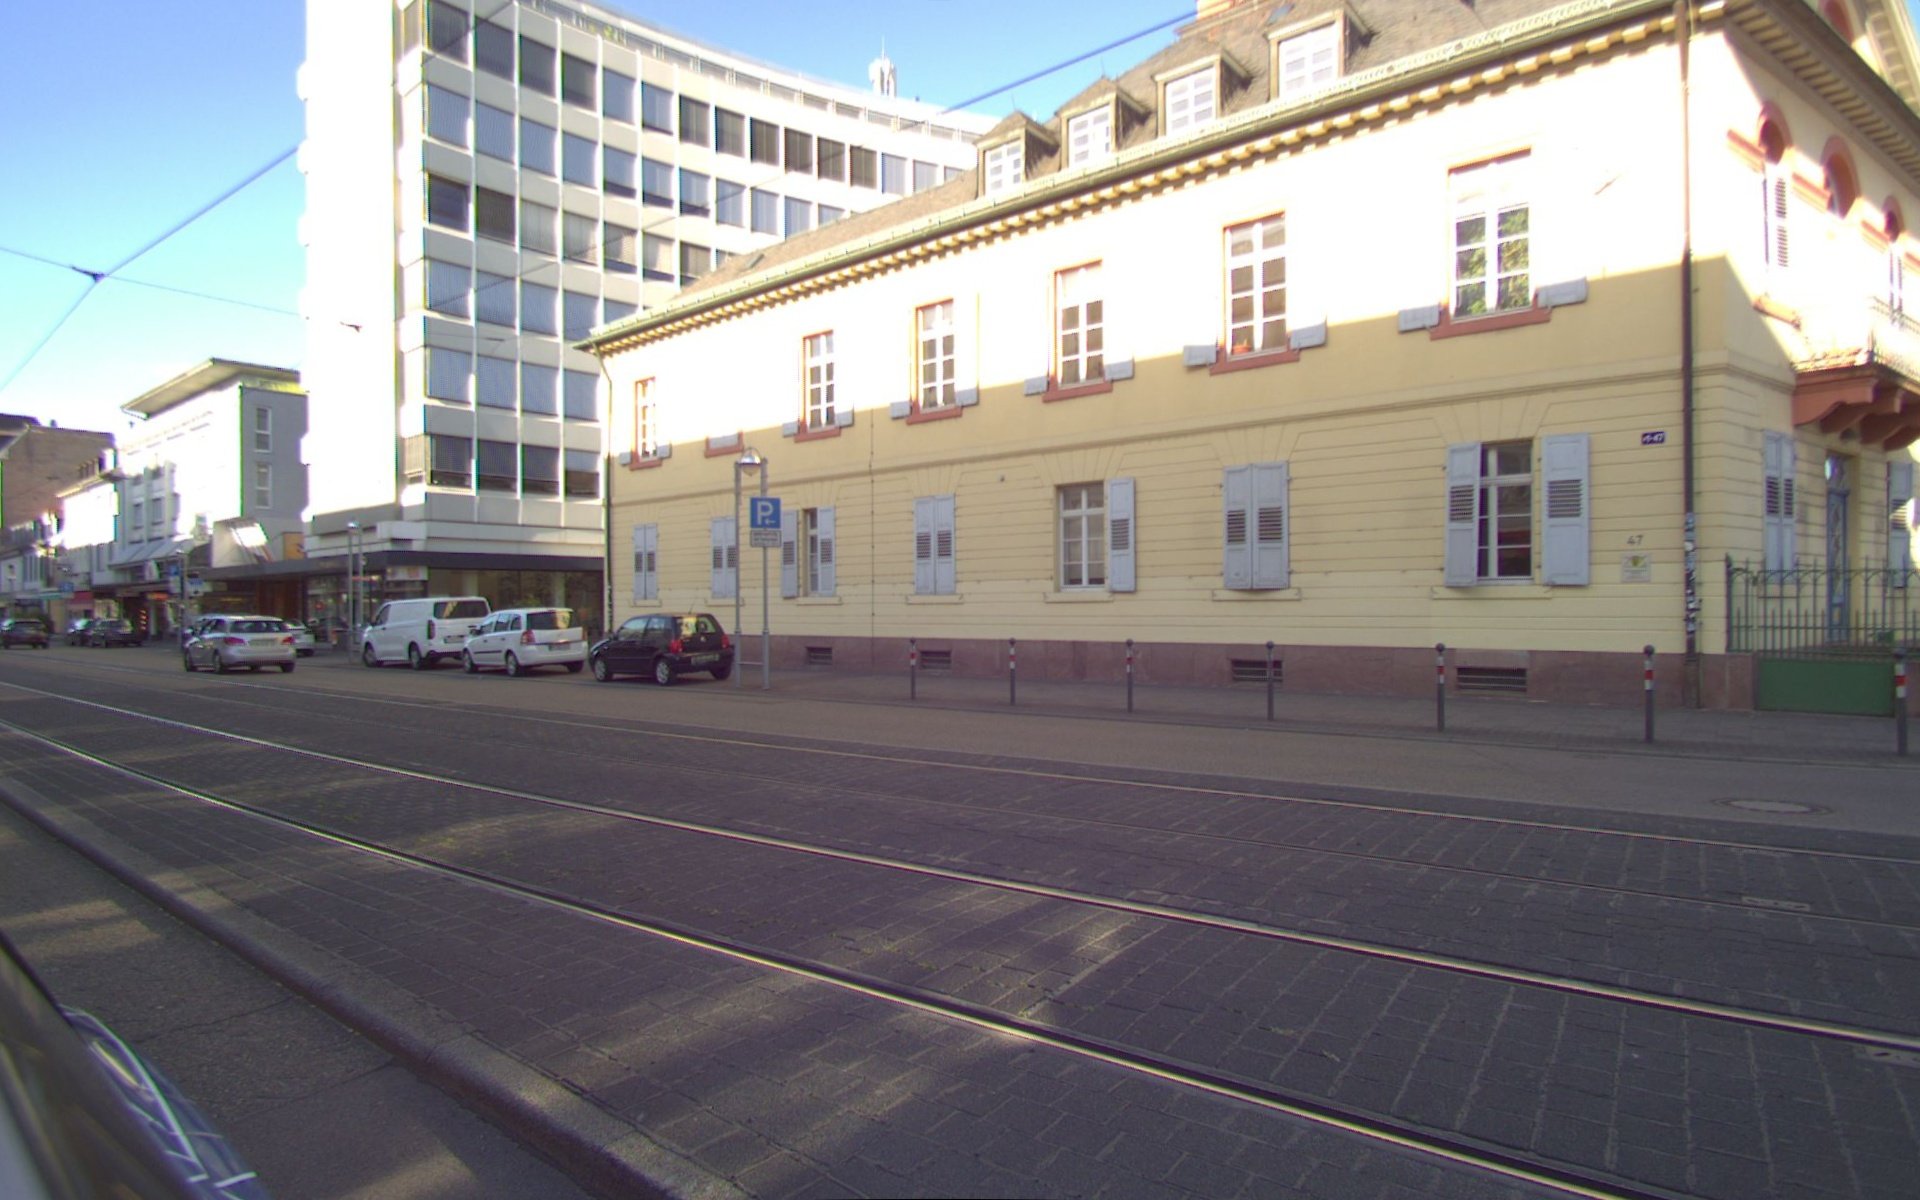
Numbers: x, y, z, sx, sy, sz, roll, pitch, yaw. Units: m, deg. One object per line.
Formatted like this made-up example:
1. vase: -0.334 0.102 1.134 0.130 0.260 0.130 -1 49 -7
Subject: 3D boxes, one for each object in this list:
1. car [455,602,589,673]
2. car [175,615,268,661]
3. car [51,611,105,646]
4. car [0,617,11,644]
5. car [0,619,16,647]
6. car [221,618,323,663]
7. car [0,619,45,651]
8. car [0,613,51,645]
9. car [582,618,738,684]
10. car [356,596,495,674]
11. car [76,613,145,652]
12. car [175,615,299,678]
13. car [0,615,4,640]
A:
1. car: -11.019 0.891 25.353 4.005 1.621 1.619 -1 0 43
2. car: -29.904 1.491 40.951 4.103 1.717 1.975 -1 0 38
3. car: -50.428 1.603 57.834 3.997 1.896 1.767 -1 -1 40
4. car: -74.527 2.341 77.644 3.995 2.029 1.974 -1 0 38
5. car: -71.110 2.450 74.484 3.998 2.029 1.973 -1 -1 41
6. car: -25.620 1.445 37.613 4.369 1.541 1.974 -1 0 39
7. car: -47.700 1.744 51.133 4.001 1.519 1.937 -1 0 44
8. car: -63.011 1.926 68.062 3.996 2.058 2.172 -1 -1 39
9. car: -6.396 1.027 21.460 3.210 1.263 1.667 -1 0 39
10. car: -15.347 0.970 28.937 4.619 2.029 2.014 -1 -1 41
11. car: -43.718 1.632 52.055 3.995 1.874 1.974 -1 0 38
12. car: -20.025 1.247 27.981 3.994 1.609 1.739 -1 -1 38
13. car: -79.175 2.249 82.006 3.995 2.029 1.974 -1 0 38
